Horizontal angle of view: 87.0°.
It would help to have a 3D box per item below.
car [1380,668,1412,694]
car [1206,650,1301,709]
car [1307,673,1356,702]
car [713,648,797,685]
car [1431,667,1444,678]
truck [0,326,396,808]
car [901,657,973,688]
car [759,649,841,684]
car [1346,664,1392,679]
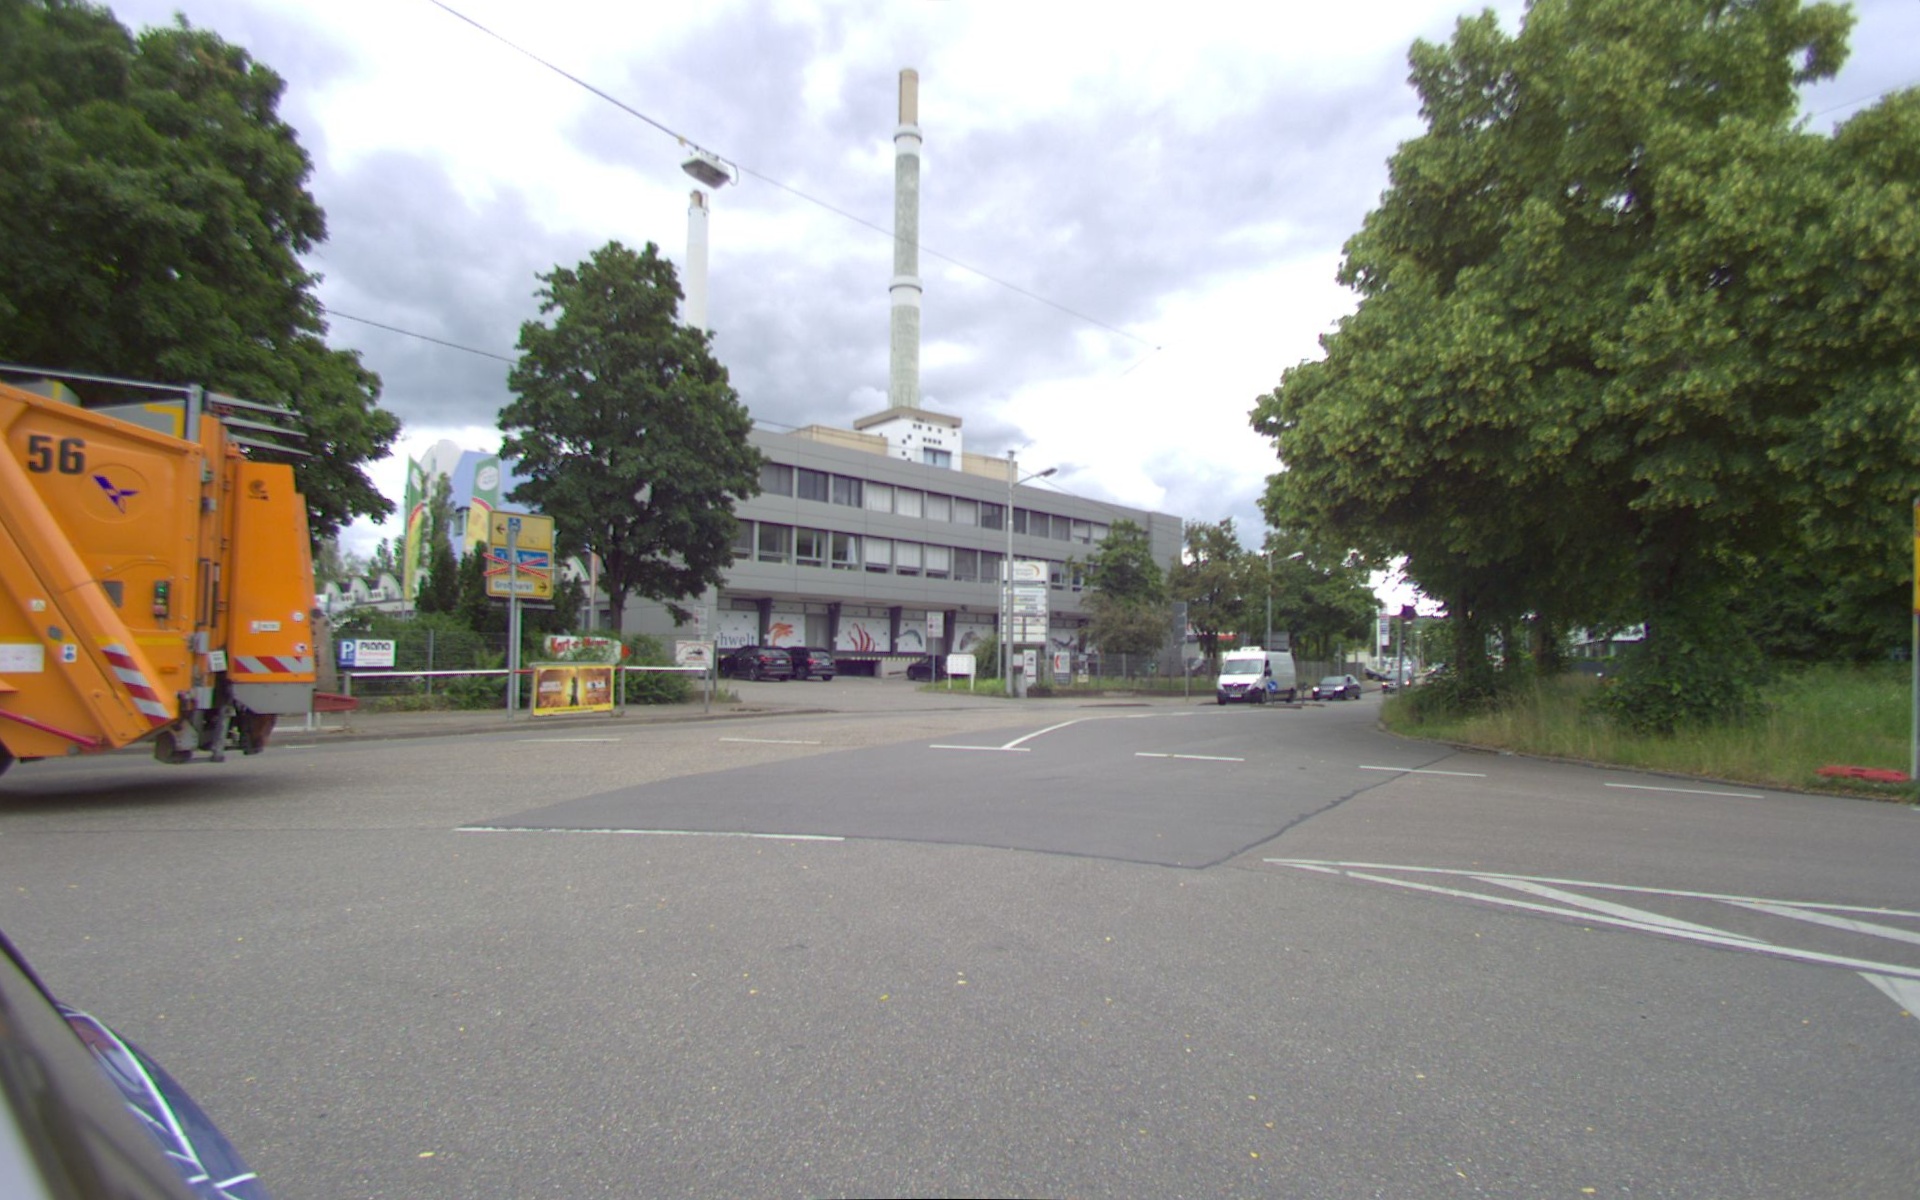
[{"bbox_3d":[28.833,5.333,67.012,1.784,1.653,4.407,-1,-4,22],"label":"car"},{"bbox_3d":[13.293,3.546,45.614,2.383,2.478,6.030,-3,-5,33],"label":"car"},{"bbox_3d":[20.833,4.881,56.650,1.858,1.524,4.396,-2,-4,29],"label":"car"},{"bbox_3d":[-9.953,3.191,48.930,1.811,1.630,4.469,4,-4,-44],"label":"car"},{"bbox_3d":[74.054,11.288,157.033,1.786,1.653,4.403,-2,-4,25],"label":"car"},{"bbox_3d":[-10.006,-0.218,7.387,10.242,3.554,2.806,1,-3,-29],"label":"truck"},{"bbox_3d":[-1.301,3.936,55.465,2.015,1.456,4.844,2,-2,-27],"label":"car"},{"bbox_3d":[-8.080,3.344,51.013,1.812,1.630,4.426,4,-4,-45],"label":"car"},{"bbox_3d":[53.252,9.333,131.850,5.435,1.884,2.009,-2,-4,26],"label":"car"}]
